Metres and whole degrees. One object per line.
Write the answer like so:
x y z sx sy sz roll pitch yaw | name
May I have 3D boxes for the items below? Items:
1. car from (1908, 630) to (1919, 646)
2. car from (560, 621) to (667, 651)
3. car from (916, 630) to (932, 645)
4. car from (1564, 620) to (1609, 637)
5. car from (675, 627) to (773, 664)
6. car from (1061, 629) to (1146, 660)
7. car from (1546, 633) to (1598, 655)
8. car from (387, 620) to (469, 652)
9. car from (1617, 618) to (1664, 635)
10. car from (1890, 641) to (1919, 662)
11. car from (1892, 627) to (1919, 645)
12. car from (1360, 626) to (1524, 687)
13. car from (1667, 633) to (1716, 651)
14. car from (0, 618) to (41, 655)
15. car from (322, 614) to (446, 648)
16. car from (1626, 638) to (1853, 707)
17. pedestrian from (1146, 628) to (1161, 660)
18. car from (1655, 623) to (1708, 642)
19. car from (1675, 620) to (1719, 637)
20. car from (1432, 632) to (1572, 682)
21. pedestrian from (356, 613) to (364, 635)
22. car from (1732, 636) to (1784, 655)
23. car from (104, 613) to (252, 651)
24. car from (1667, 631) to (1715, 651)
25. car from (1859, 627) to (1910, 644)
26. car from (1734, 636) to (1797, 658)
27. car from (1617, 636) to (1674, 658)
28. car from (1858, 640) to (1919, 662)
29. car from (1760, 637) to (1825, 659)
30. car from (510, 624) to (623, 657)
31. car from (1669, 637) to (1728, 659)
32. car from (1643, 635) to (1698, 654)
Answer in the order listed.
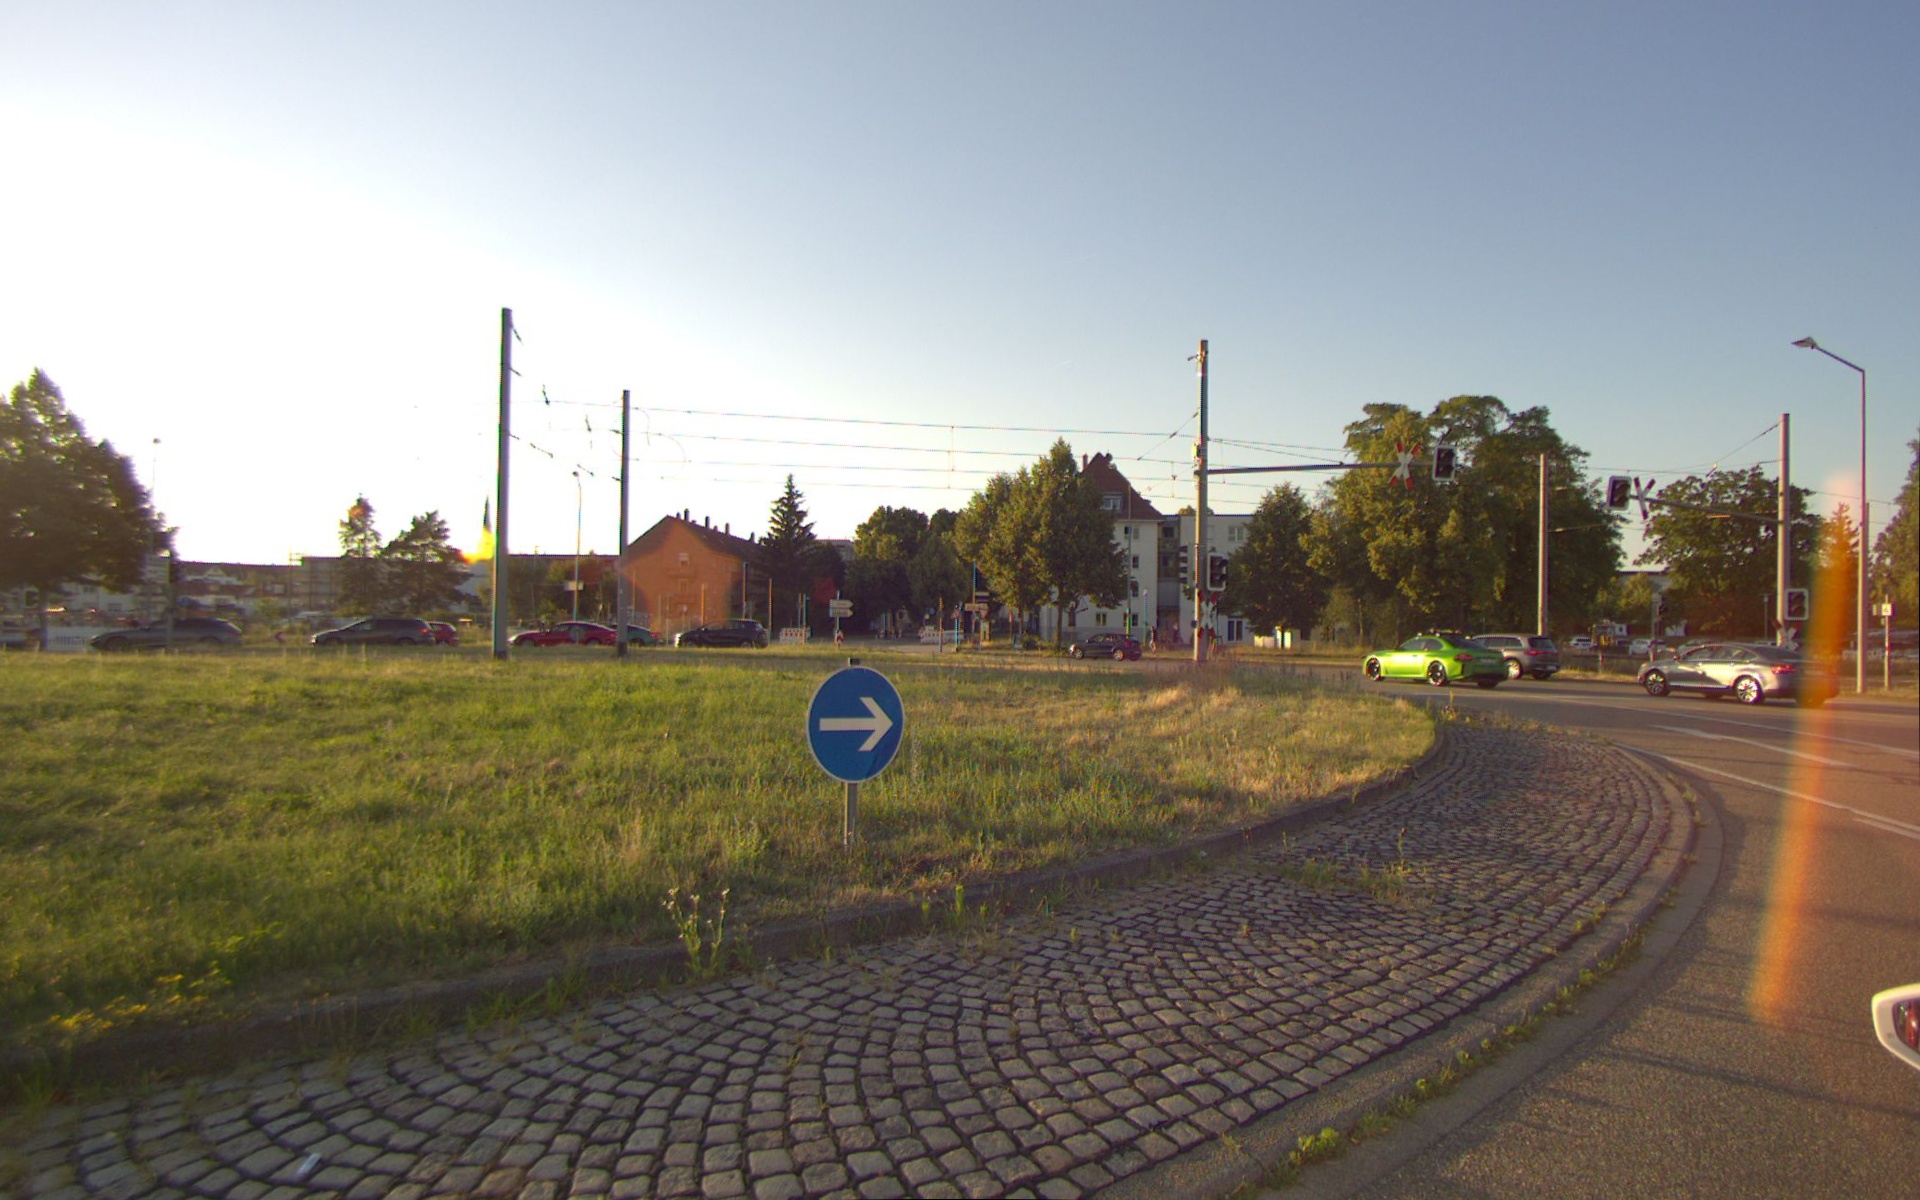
105.597 4.115 108.696 1.971 1.728 3.979 1 -1 -22 | car
-17.114 1.785 49.858 4.646 1.389 1.998 1 -1 -6 | car
-4.671 4.799 129.496 1.961 1.840 3.999 1 -1 -2 | car
79.594 3.656 127.604 4.507 2.040 2.000 1 -1 0 | car
-10.703 2.055 45.770 3.919 1.605 1.896 1 -1 4 | car
7.376 2.300 51.797 3.940 1.372 1.686 -4 0 39 | car
49.422 3.545 81.214 1.960 1.625 4.002 1 -1 3 | car
-26.795 1.808 50.716 3.438 1.519 1.635 1 -1 -21 | car
86.269 3.387 127.419 4.505 2.040 2.001 1 -1 5 | car
76.360 4.089 79.455 1.960 1.625 4.002 1 -1 3 | car
107.465 4.032 112.573 3.919 2.040 2.001 1 -1 11 | car
13.793 1.572 29.081 1.965 1.600 4.475 1 -1 -13 | car
73.172 4.190 100.557 3.934 1.684 1.994 0 -1 35 | car
-47.232 1.725 48.442 4.620 1.728 2.001 0 -1 13 | car
-24.298 1.312 42.565 4.323 1.394 1.989 1 -1 -24 | car
19.436 1.751 25.369 1.851 1.483 4.667 1 -1 -5 | car
11.944 2.716 61.973 0.614 1.918 0.662 2 0 -35 | pedestrian
80.241 3.649 111.720 4.507 2.040 2.000 1 -1 0 | car
93.219 3.594 127.009 4.033 2.040 2.001 1 -1 4 | car
20.226 2.089 37.747 1.969 1.659 4.506 1 -1 -19 | car
-36.304 1.452 60.811 0.392 1.325 0.426 1 -1 -30 | pedestrian
77.357 4.421 97.395 3.938 1.684 1.894 0 -1 39 | car
-30.662 1.253 39.565 4.299 1.394 1.985 1 -1 -29 | car
75.809 4.232 104.264 3.934 2.040 1.994 0 -1 35 | car
108.045 4.132 117.424 3.919 1.840 2.001 1 -1 5 | car
64.023 3.717 79.914 1.960 1.625 4.002 1 -1 3 | car
54.764 3.703 80.321 1.960 1.625 4.002 1 -1 3 | car
73.890 4.015 79.606 1.960 1.625 4.002 1 -1 3 | car
66.376 3.790 80.153 1.960 1.625 4.002 1 -1 3 | car
-17.510 1.822 44.939 4.418 1.410 1.892 1 -1 -12 | car
59.524 3.851 81.021 1.960 1.625 4.002 1 -1 3 | car
69.221 4.332 97.913 3.919 1.684 1.904 1 -1 5 | car
